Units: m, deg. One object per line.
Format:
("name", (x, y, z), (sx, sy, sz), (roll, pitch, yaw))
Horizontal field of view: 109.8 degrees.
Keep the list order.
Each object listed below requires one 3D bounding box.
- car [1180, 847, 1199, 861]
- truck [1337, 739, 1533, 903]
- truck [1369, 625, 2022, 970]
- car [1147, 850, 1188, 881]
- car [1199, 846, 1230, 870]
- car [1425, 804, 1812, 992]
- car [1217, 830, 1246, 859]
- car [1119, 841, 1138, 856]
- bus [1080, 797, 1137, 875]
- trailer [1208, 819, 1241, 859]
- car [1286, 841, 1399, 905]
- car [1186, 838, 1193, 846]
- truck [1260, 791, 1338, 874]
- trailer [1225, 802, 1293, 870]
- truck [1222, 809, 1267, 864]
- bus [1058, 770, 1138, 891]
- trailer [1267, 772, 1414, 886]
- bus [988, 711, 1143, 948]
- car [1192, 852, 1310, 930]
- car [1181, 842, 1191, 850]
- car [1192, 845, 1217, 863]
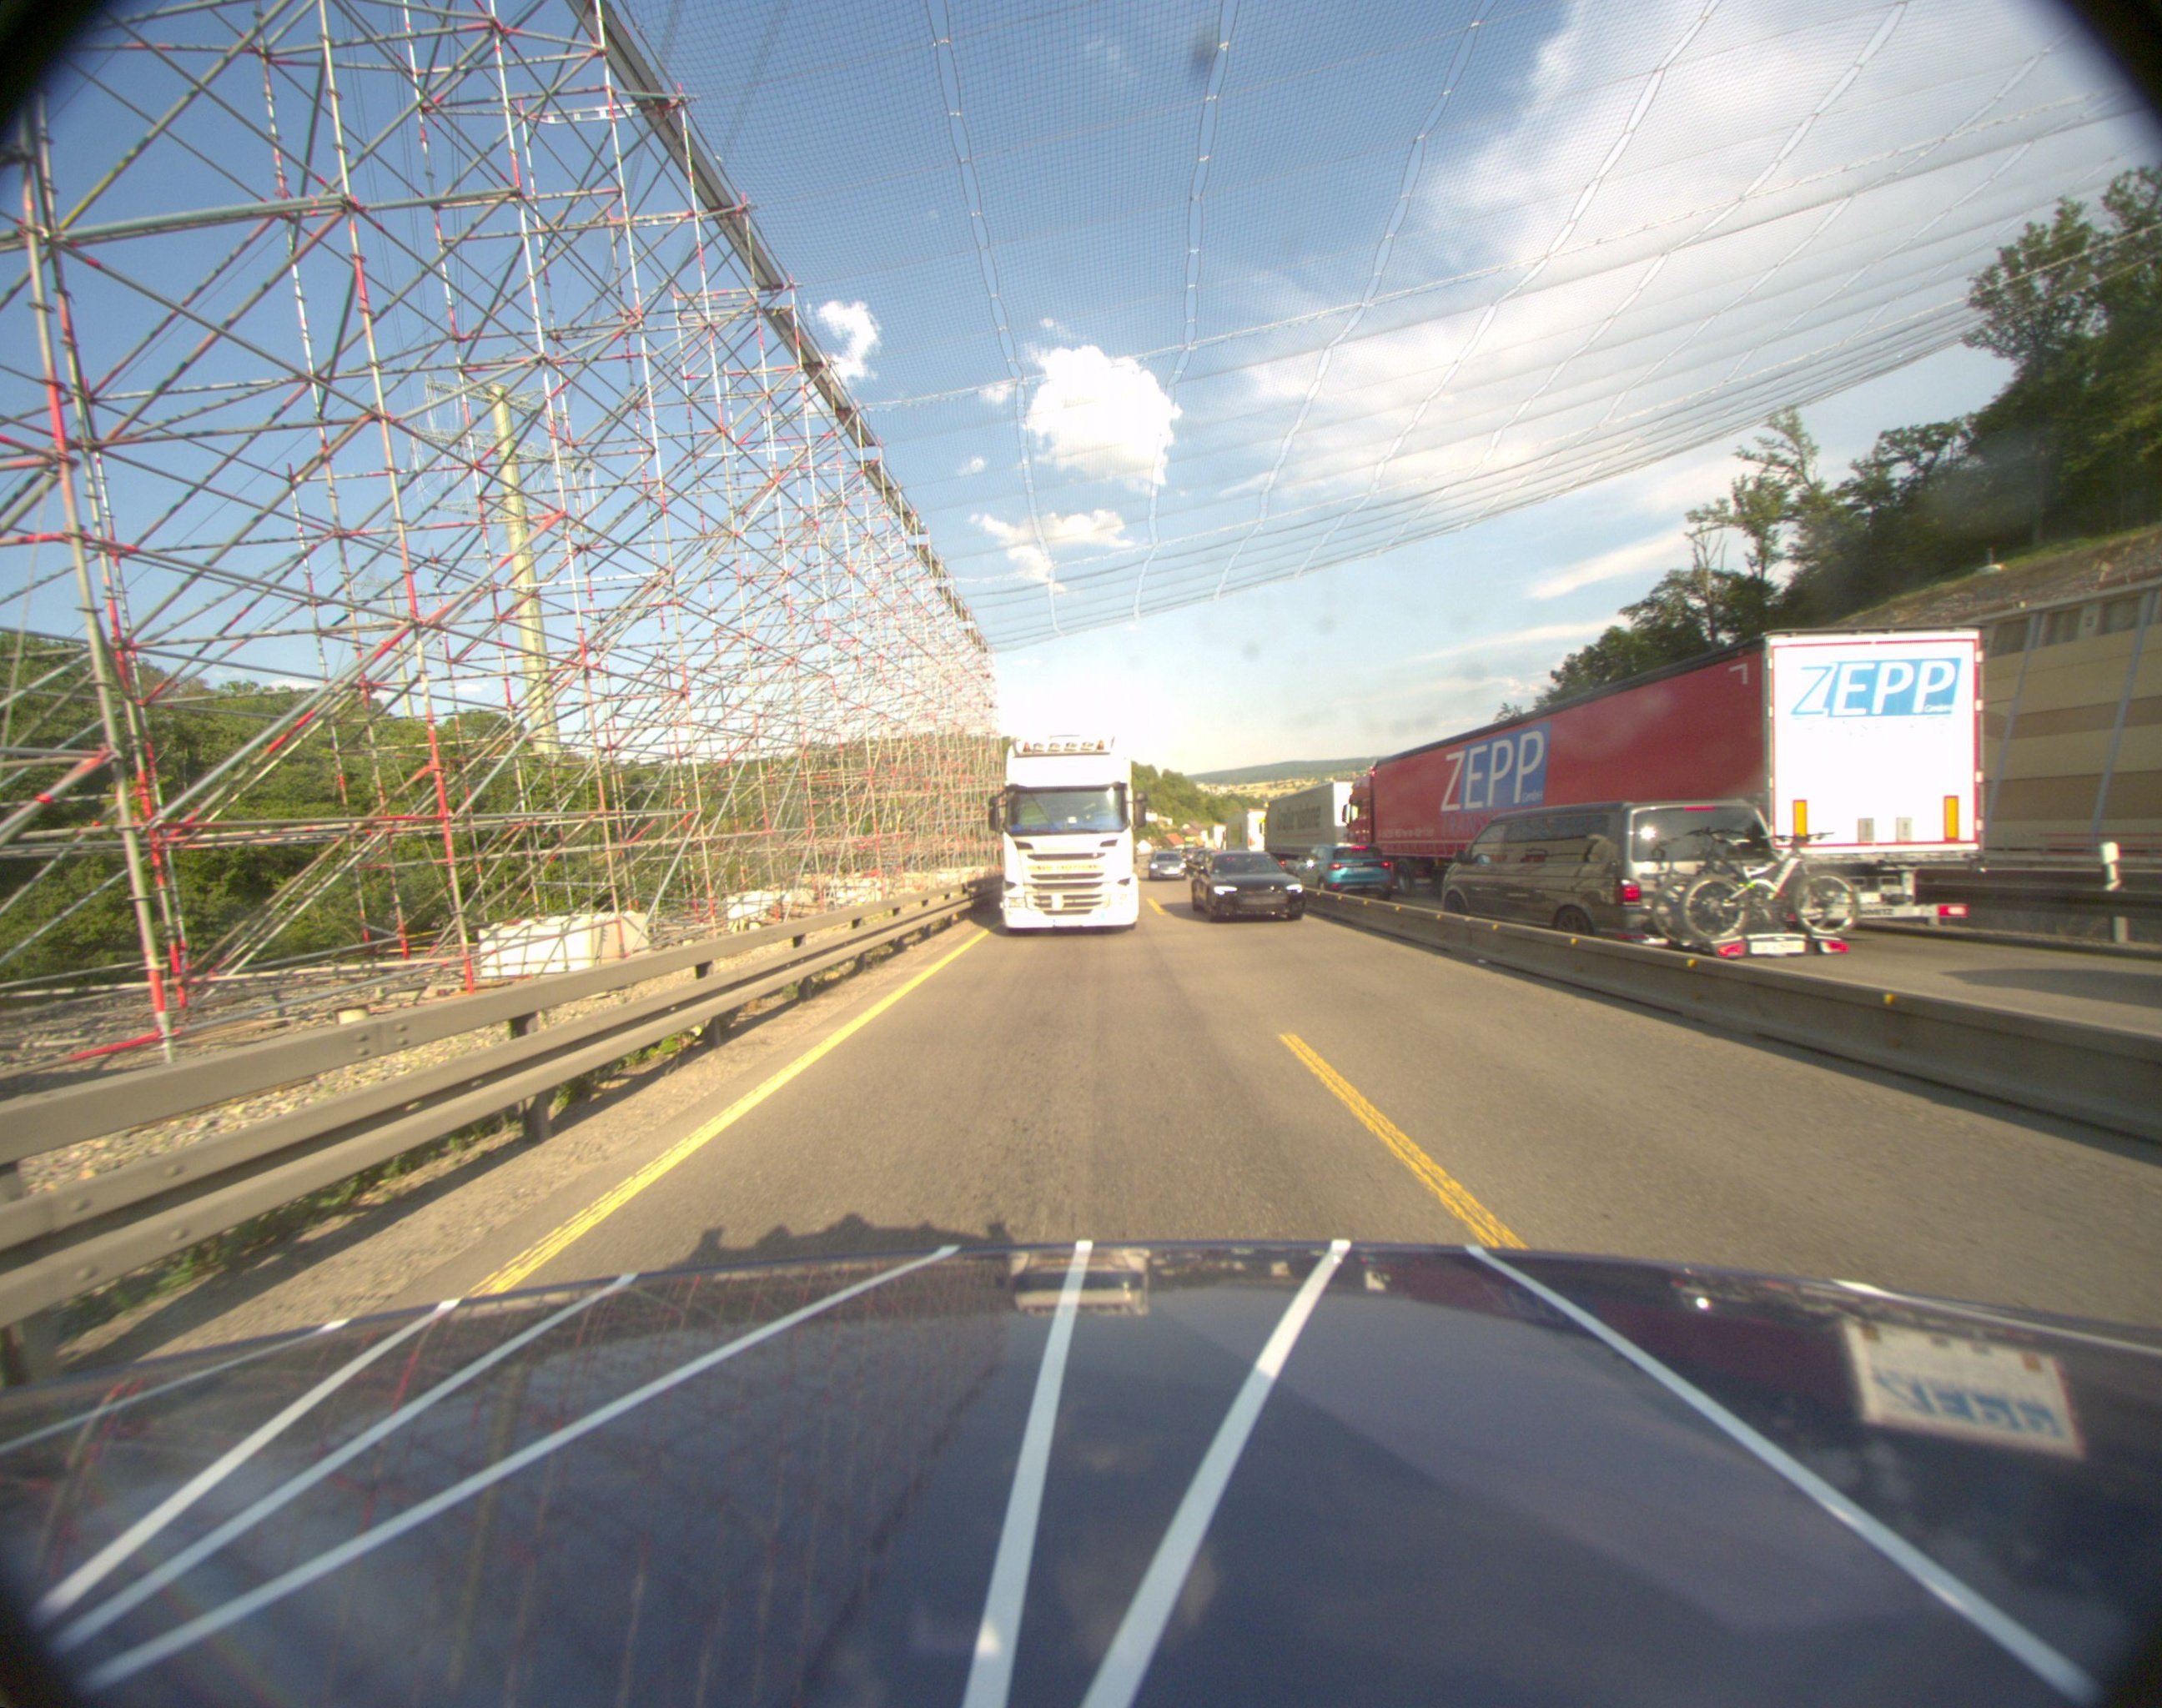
("car", (11.256, -0.037, 79.061), (1.735, 1.369, 4.892), (-3, 1, 5))
("truck", (10.165, -0.884, 22.726), (2.794, 4.118, 6.678), (-1, 1, 1))
("truck", (10.076, -0.784, 16.120), (2.794, 4.117, 13.805), (-1, 1, 1))
("car", (4.312, 0.539, 38.334), (1.698, 1.390, 4.000), (-3, 0, 2))
("car", (8.887, 0.227, 50.735), (1.654, 1.455, 4.401), (-3, 1, 6))
("car", (6.724, 0.444, 10.379), (1.879, 1.924, 4.861), (-1, 1, 1))
("car", (14.794, -0.942, 75.021), (2.026, 2.674, 6.951), (-3, 1, 6))
("car", (5.286, -0.619, 84.423), (1.998, 1.630, 4.000), (-1, 1, 4))
("bus", (2.027, -1.130, 50.516), (2.984, 4.553, 10.907), (-1, 1, 6))
("trailer", (16.502, -1.754, 88.152), (2.726, 4.194, 13.753), (-1, 1, 7))
("car", (7.119, 0.463, 21.151), (1.746, 1.526, 4.267), (-2, 1, 2))
("car", (30.528, -3.364, 213.655), (1.820, 1.988, 4.758), (1, 0, 9))
("truck", (11.683, -1.127, 41.297), (2.793, 4.118, 5.934), (-1, 1, 4))
("trailer", (12.793, -1.264, 55.907), (2.772, 4.309, 13.883), (-1, 1, 5))
("truck", (13.330, -1.418, 62.383), (2.751, 4.275, 5.935), (-1, 1, 5))
("bus", (0.986, -0.936, 34.081), (2.984, 4.553, 9.969), (-1, 1, 4))
("trailer", (11.258, -1.032, 34.891), (2.805, 4.117, 13.967), (-1, 1, 4))
("bus", (-0.066, -0.541, 18.839), (2.635, 4.077, 11.312), (-1, 1, 2))
("car", (3.544, 0.708, 16.553), (1.866, 1.391, 4.000), (-1, 1, 3))
("car", (20.935, -1.518, 151.969), (1.820, 1.570, 4.758), (1, 0, 9))
("car", (10.694, 0.004, 66.092), (1.736, 1.431, 4.839), (-3, 0, 5))
